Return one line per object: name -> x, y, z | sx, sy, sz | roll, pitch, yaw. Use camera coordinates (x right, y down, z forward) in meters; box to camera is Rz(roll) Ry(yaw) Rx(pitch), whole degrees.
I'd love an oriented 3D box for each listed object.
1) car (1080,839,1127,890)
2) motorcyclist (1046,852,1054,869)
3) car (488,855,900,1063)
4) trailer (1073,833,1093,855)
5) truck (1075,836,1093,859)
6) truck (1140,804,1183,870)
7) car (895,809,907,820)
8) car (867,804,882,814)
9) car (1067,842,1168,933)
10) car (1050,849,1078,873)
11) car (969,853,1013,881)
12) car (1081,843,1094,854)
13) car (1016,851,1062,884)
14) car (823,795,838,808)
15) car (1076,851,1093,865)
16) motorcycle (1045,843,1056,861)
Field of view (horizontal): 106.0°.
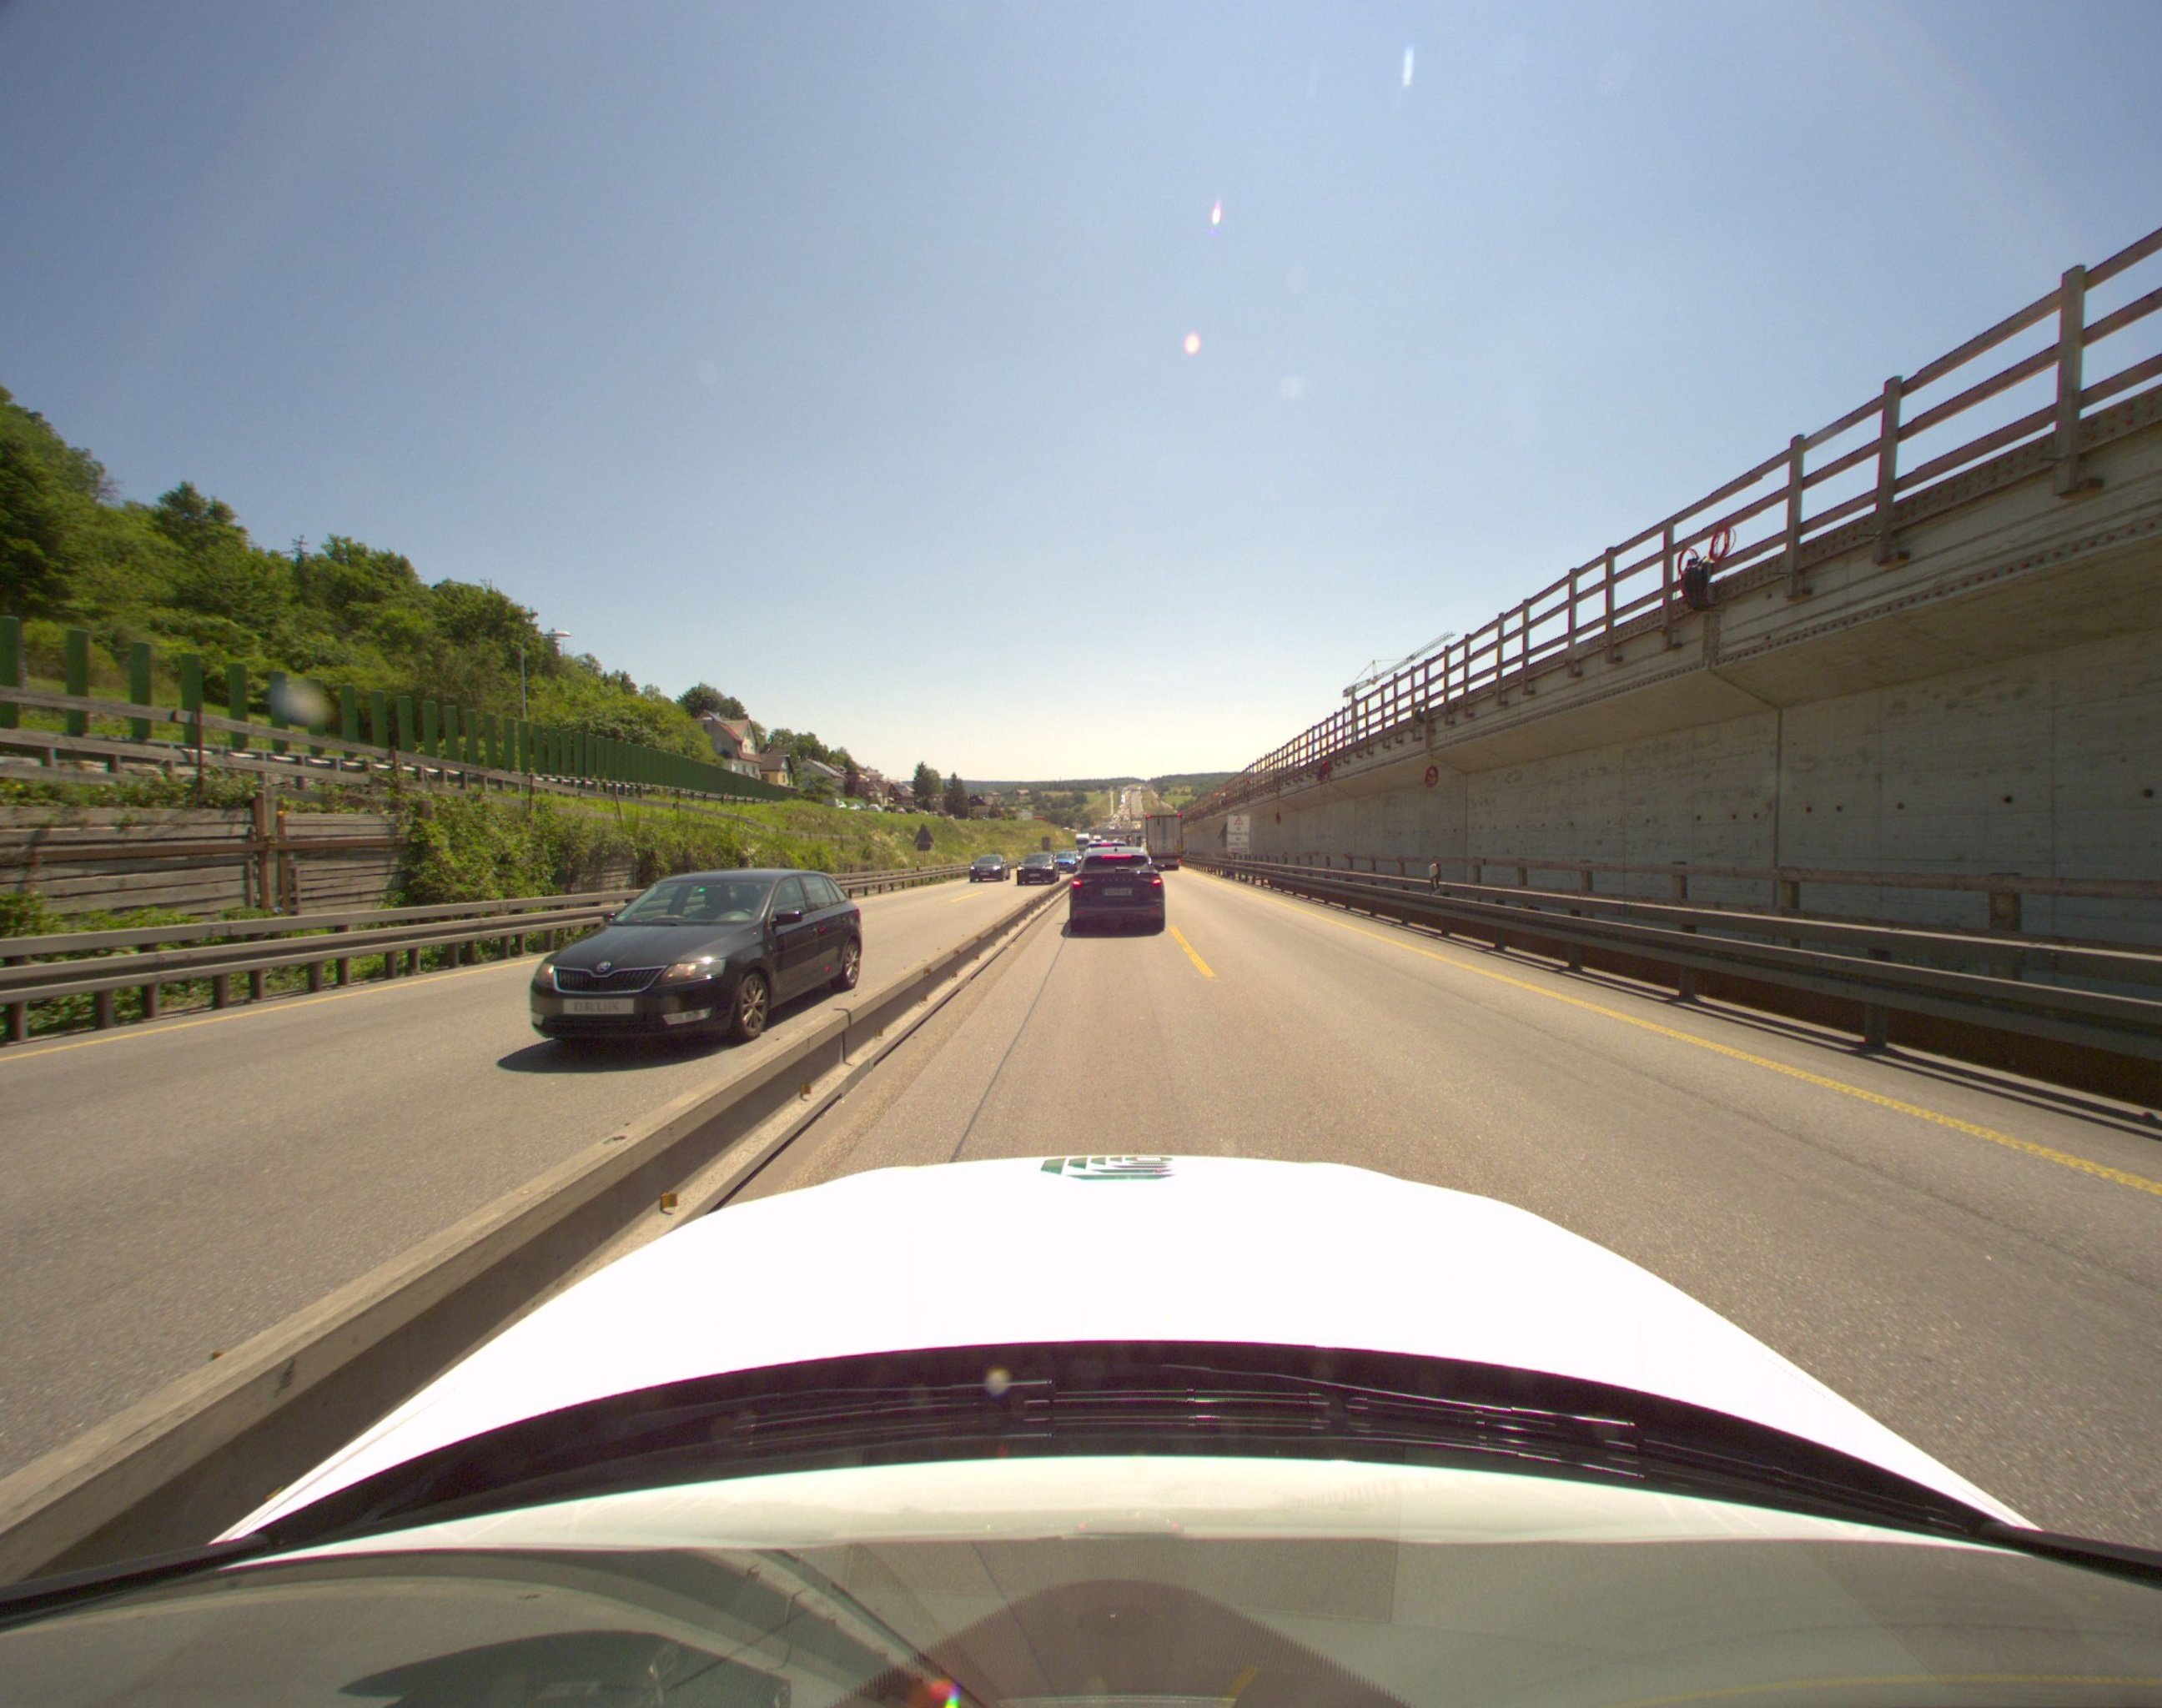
car -> 0.849, 0.414, 32.642 | 1.743, 1.895, 3.755 | 1, 0, 0
motorcyclist -> -2.779, 0.598, 73.684 | 0.663, 1.585, 0.736 | -1, -1, 2
car -> -3.391, 0.819, 8.343 | 1.598, 1.446, 4.676 | -4, -1, 5
trailer -> 0.274, -1.916, 164.593 | 3.213, 4.158, 13.393 | -2, 0, -3
truck -> 0.569, -1.271, 158.779 | 3.173, 4.238, 6.477 | -1, -1, -3
truck -> 6.154, -1.147, 63.697 | 2.834, 4.615, 11.820 | 0, -1, 3
car -> -34.428, -7.550, 156.037 | 1.924, 1.728, 3.989 | -1, 0, -8
car -> -34.566, -7.498, 136.273 | 1.992, 1.319, 3.989 | 2, -1, -8
car -> 0.708, 0.609, 16.551 | 1.776, 1.597, 3.756 | -1, 0, 1
car -> -1.183, 0.482, 58.372 | 1.757, 1.610, 3.894 | -1, 0, 2
car -> -5.018, 0.729, 46.037 | 1.807, 1.448, 5.008 | 1, -1, 1
car -> 0.874, -0.713, 113.640 | 1.685, 1.486, 3.750 | -1, 0, 1
car -> -2.014, 0.657, 39.979 | 1.835, 1.530, 4.296 | -1, -1, 2
car -> -32.164, -6.770, 104.640 | 1.730, 1.398, 3.783 | 1, 0, -14
car -> 0.410, 0.395, 88.267 | 1.760, 1.486, 3.866 | -1, 0, 1
motorcycle -> -2.751, -0.220, 73.823 | 0.787, 1.551, 2.623 | 0, 1, 2
